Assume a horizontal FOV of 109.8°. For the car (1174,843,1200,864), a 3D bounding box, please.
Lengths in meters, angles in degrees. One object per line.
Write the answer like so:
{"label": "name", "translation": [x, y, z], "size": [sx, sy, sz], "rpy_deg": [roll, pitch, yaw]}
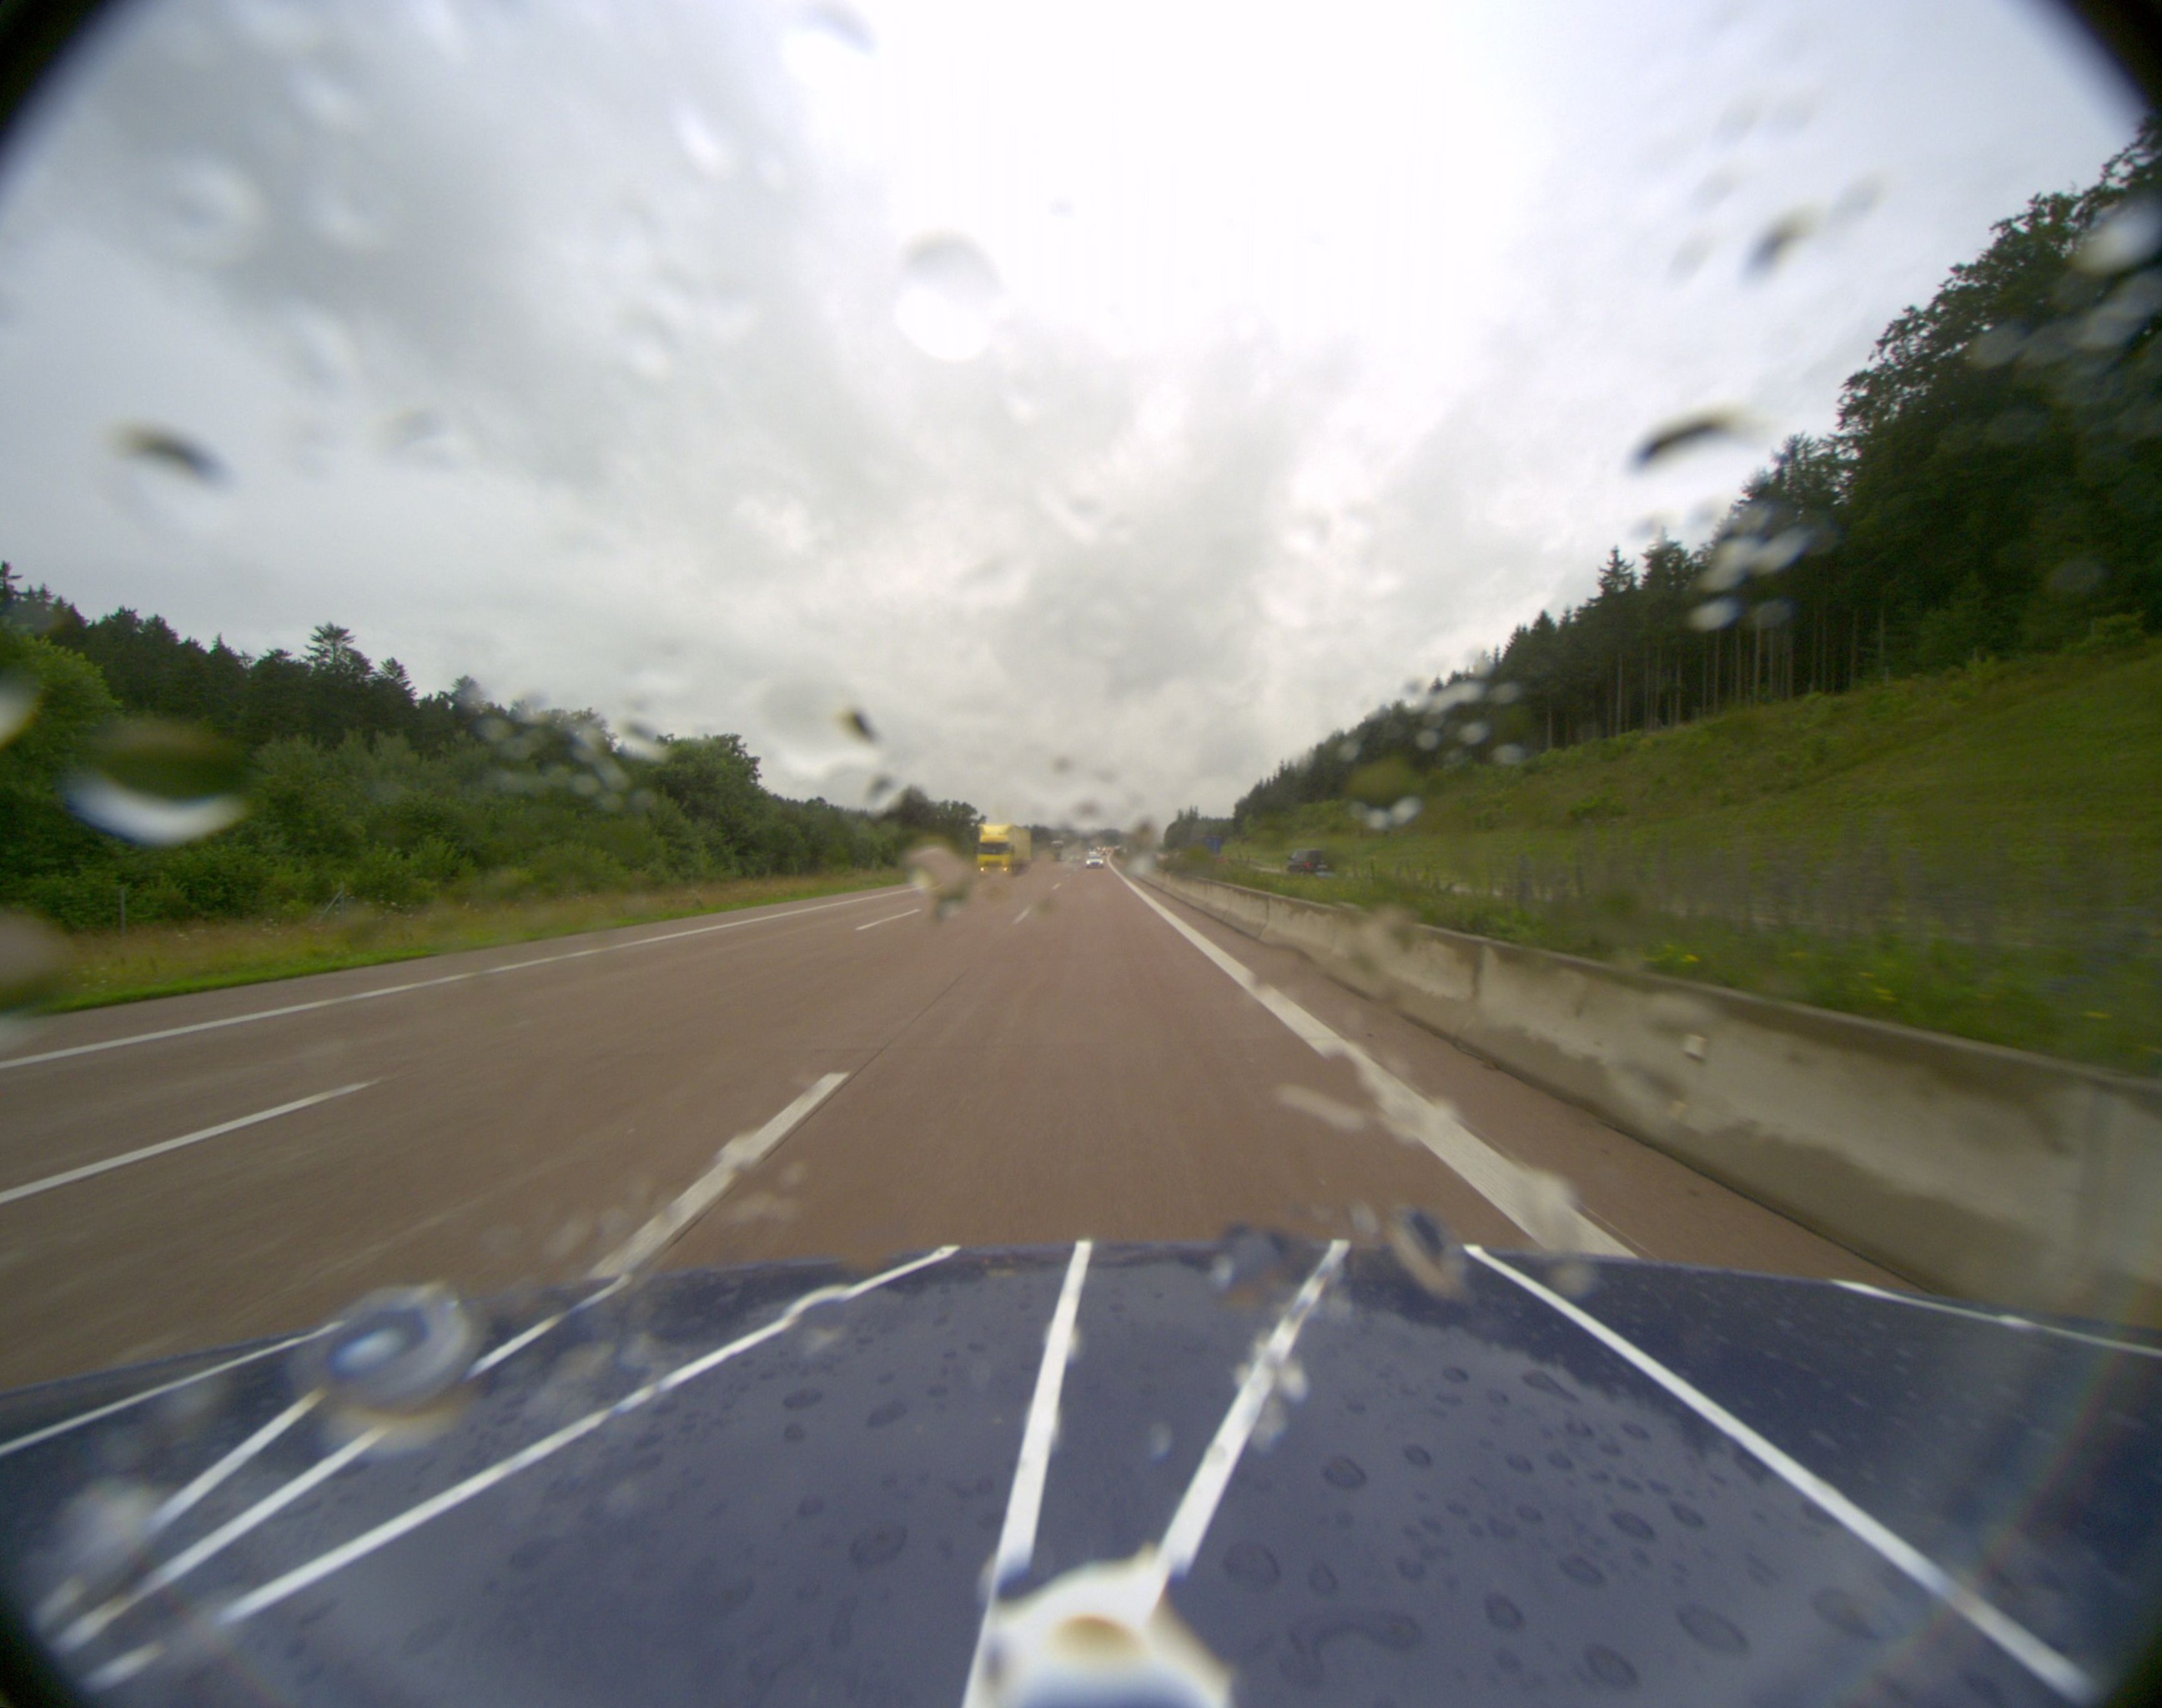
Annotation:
{"label": "car", "translation": [9.684, -0.098, 69.731], "size": [1.895, 1.769, 4.938], "rpy_deg": [-2, 1, 3]}

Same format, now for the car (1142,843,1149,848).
{"label": "car", "translation": [20.651, -2.674, 243.257], "size": [1.818, 1.713, 4.951], "rpy_deg": [1, 1, 2]}

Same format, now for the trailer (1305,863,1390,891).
{"label": "trailer", "translation": [14.020, 1.169, 40.532], "size": [2.210, 0.992, 6.850], "rpy_deg": [-4, 1, 1]}

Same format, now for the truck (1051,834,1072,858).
{"label": "truck", "translation": [-3.827, -1.691, 151.611], "size": [3.190, 4.349, 14.703], "rpy_deg": [-2, 1, 2]}

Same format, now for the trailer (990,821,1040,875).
{"label": "trailer", "translation": [-5.638, -0.599, 67.511], "size": [2.571, 4.204, 14.079], "rpy_deg": [-2, 1, 2]}

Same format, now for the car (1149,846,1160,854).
{"label": "car", "translation": [16.820, -0.969, 173.942], "size": [2.053, 1.683, 6.383], "rpy_deg": [-2, 1, 2]}

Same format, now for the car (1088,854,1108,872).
{"label": "car", "translation": [1.796, 0.934, 79.518], "size": [1.998, 1.623, 4.931], "rpy_deg": [-2, 1, 2]}

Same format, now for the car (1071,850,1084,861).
{"label": "car", "translation": [-0.553, 0.166, 126.572], "size": [1.998, 1.623, 4.931], "rpy_deg": [-2, 1, 2]}

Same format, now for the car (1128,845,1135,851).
{"label": "car", "translation": [16.522, -1.866, 250.225], "size": [2.053, 1.766, 5.324], "rpy_deg": [-2, 1, 2]}

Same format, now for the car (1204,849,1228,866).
{"label": "car", "translation": [13.439, 0.301, 75.721], "size": [1.730, 1.520, 4.116], "rpy_deg": [-2, 1, 1]}

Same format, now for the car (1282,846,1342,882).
{"label": "car", "translation": [14.072, 0.544, 46.683], "size": [1.998, 2.002, 5.673], "rpy_deg": [-2, 1, 1]}

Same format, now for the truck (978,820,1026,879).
{"label": "truck", "translation": [-5.992, -0.399, 58.460], "size": [2.610, 4.190, 6.249], "rpy_deg": [-2, 1, 2]}

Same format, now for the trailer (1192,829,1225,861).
{"label": "trailer", "translation": [18.661, -1.391, 112.090], "size": [2.926, 4.315, 13.578], "rpy_deg": [-2, 1, 2]}
